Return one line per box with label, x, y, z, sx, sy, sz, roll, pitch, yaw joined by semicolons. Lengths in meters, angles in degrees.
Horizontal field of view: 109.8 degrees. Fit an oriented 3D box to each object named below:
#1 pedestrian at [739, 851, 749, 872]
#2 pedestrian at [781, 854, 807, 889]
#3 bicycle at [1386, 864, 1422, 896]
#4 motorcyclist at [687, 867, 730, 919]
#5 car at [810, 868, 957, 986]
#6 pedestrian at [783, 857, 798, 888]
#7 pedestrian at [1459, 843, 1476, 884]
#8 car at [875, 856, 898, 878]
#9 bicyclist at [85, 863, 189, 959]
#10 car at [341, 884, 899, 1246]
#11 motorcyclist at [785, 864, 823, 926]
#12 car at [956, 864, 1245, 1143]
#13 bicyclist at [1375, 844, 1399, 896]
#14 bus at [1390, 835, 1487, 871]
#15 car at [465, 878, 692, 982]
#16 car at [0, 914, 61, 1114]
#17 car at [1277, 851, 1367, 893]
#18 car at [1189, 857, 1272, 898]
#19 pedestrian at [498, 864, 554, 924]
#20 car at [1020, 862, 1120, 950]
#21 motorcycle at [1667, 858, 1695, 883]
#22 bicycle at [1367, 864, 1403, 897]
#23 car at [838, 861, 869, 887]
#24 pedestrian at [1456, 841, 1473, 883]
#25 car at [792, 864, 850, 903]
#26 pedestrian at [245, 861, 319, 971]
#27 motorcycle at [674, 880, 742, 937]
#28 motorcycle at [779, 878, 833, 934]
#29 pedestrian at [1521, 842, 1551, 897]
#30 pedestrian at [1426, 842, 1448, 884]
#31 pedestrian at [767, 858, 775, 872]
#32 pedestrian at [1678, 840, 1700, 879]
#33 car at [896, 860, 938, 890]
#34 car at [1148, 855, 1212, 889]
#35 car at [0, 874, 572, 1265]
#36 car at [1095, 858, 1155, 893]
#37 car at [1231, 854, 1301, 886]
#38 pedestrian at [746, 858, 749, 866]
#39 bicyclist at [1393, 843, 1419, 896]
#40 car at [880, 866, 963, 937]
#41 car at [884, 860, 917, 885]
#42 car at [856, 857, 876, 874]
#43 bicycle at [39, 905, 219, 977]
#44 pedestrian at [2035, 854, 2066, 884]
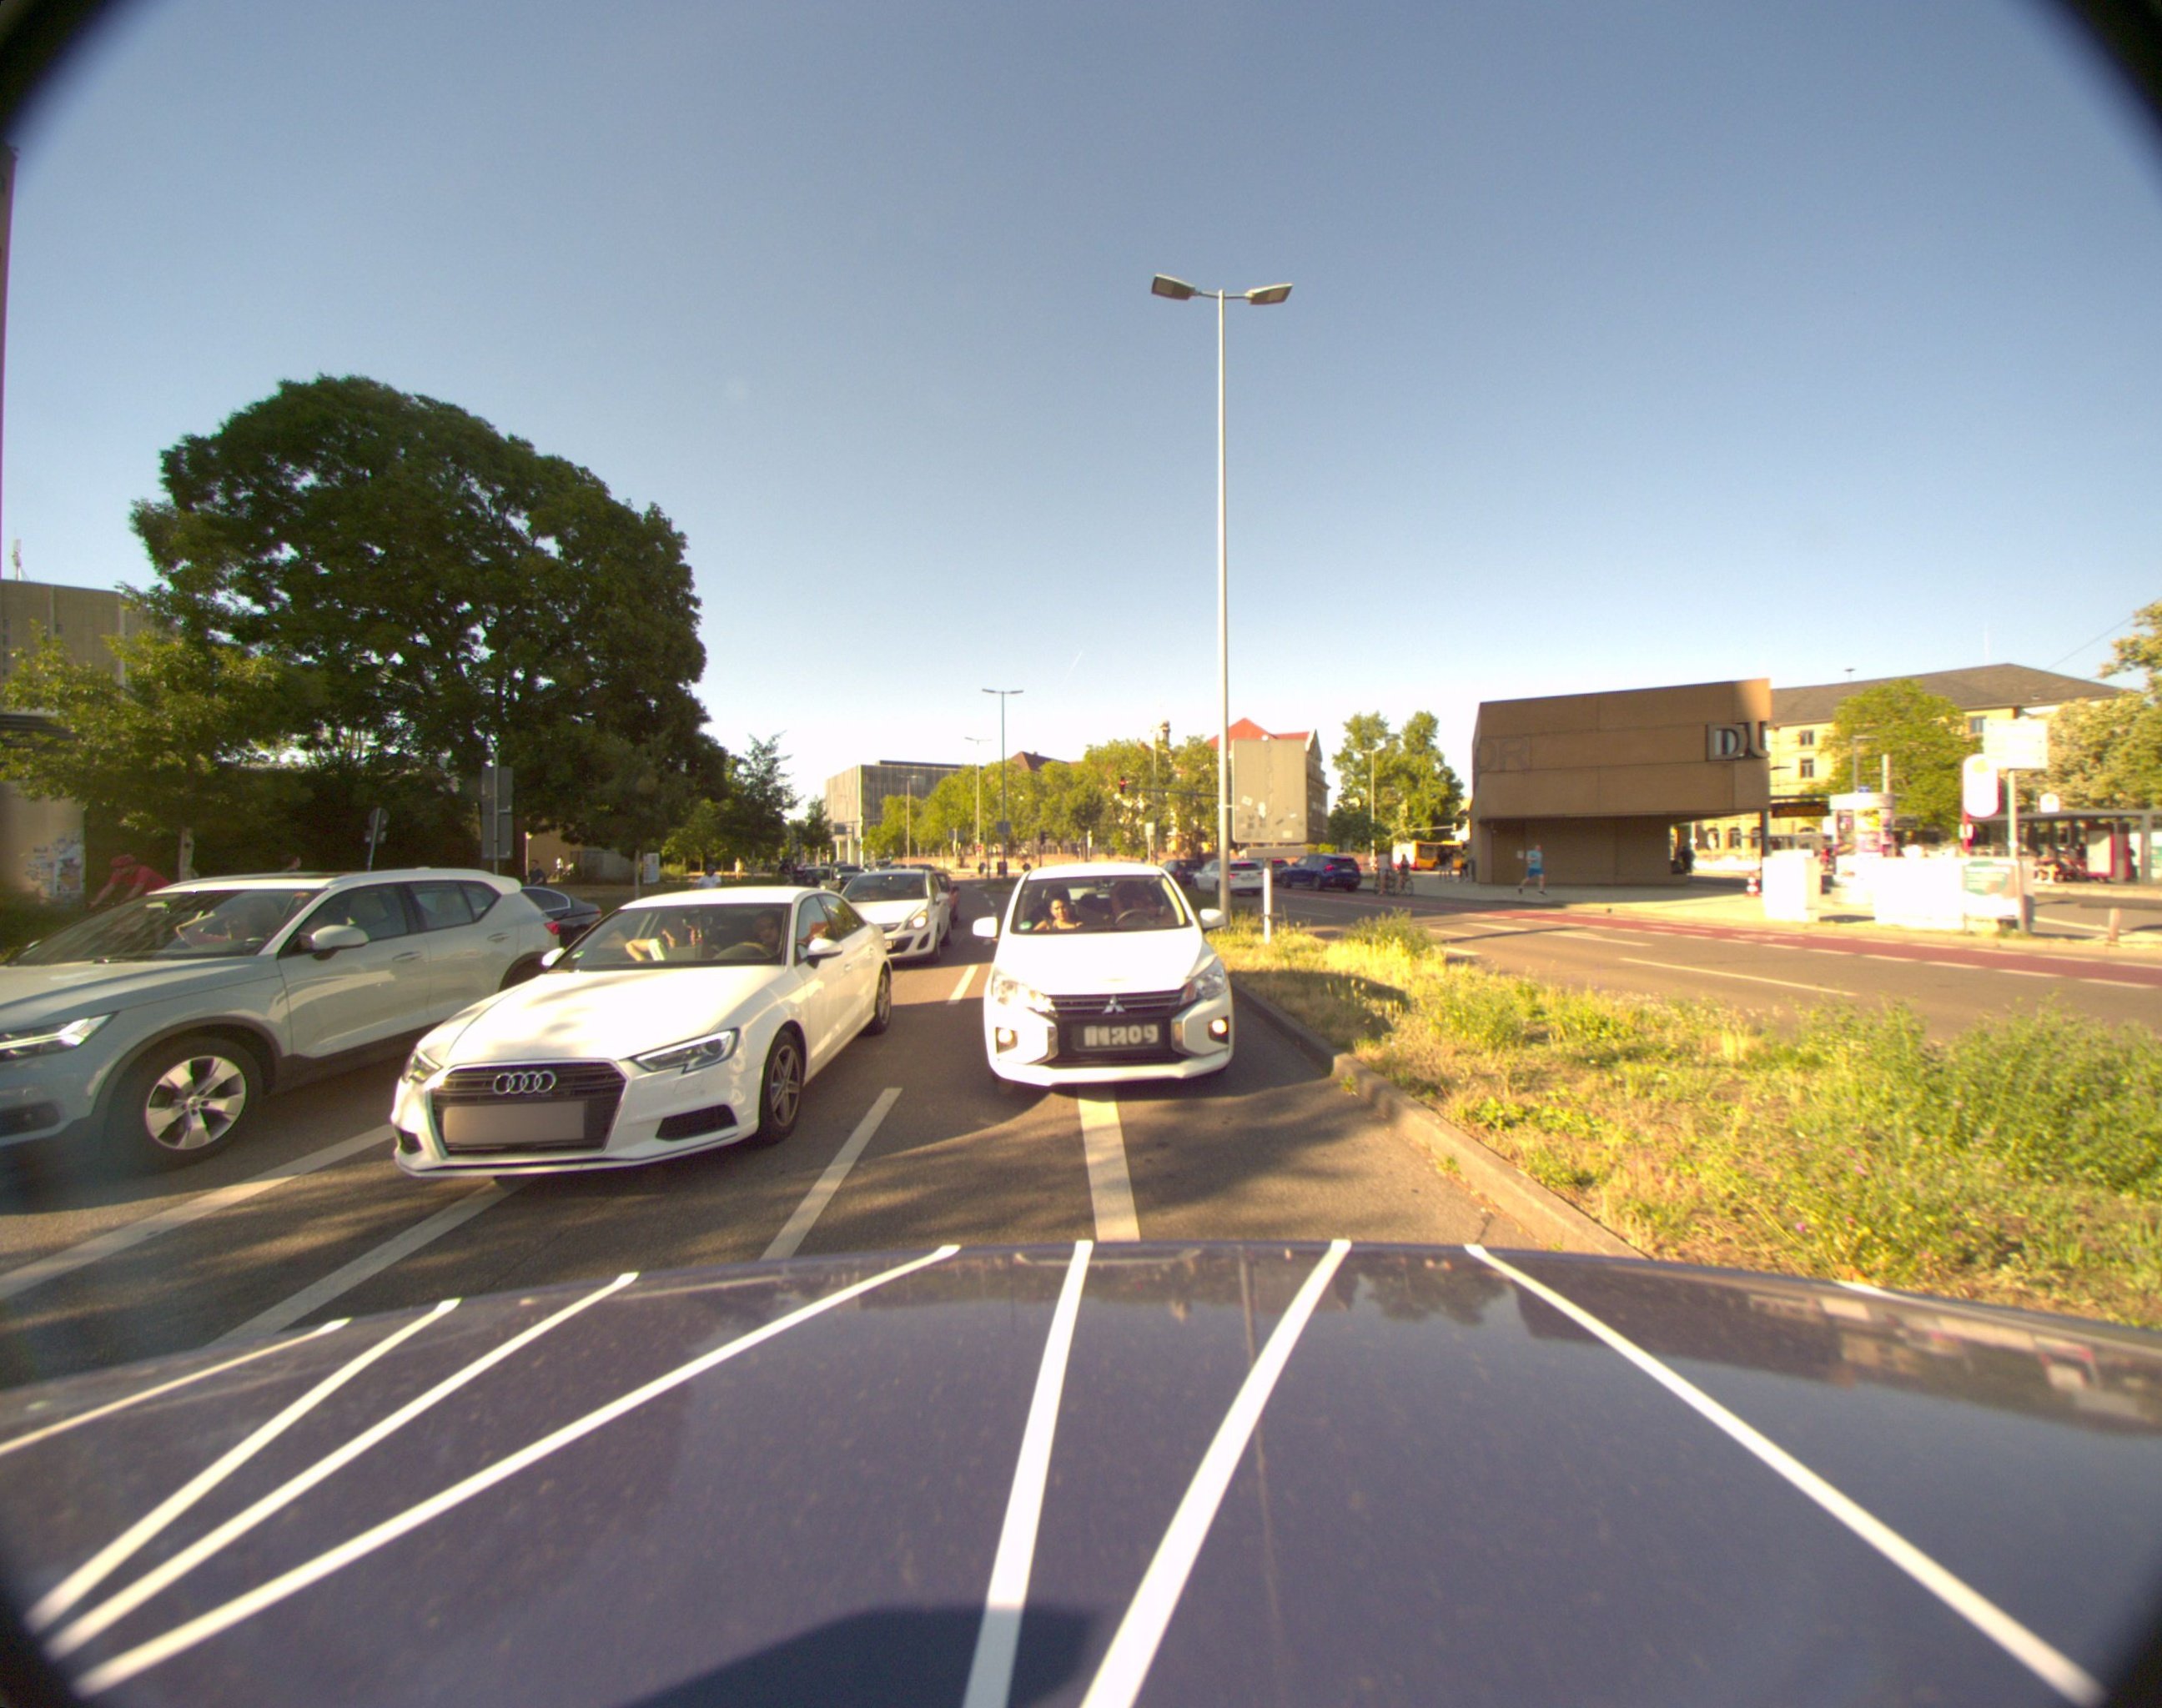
pedestrian;-25.847;0.593;58.271;0.548;1.597;0.603;-3;1;-19
pedestrian;-17.048;1.019;45.190;1.143;2.002;1.285;-2;1;-10
bicycle;12.503;0.979;29.413;0.464;1.185;1.395;-3;1;-17
motorcyclist;-9.768;1.009;19.950;0.718;1.297;0.735;-2;1;-4
car;-3.065;1.047;12.568;1.628;1.451;4.039;-2;1;-5
pedestrian;-15.573;0.983;40.734;0.596;1.585;0.594;-2;1;-8
pedestrian;19.214;0.447;37.747;0.655;2.002;0.469;-2;1;20
car;-17.334;1.135;67.715;1.880;1.805;3.995;-1;0;-14
bicyclist;-16.147;0.943;13.020;0.617;1.551;0.871;-2;1;-6
car;-2.546;1.035;5.379;1.628;1.396;3.832;-2;1;-2
motorcyclist;-7.358;1.088;20.209;0.711;1.581;0.690;-2;1;-4
car;0.064;0.892;6.421;1.628;1.451;4.040;-2;1;-2
bicyclist;11.781;0.612;29.248;0.611;2.002;0.565;-1;1;-15
bus;37.363;-0.189;79.138;12.565;3.193;3.079;-3;1;-34
car;-9.253;1.297;14.472;1.756;1.451;4.186;-2;1;-5
car;-8.751;1.239;3.872;1.628;1.451;4.040;-2;1;-2
car;10.424;0.725;33.200;1.757;1.680;4.183;-1;0;-14
car;6.050;0.902;31.274;1.850;1.483;4.388;-2;1;-10
pedestrian;-16.627;1.179;22.789;1.010;1.711;0.884;-2;1;-10
car;-0.313;0.959;15.897;1.756;1.451;4.187;-2;1;-3
motorcycle;26.226;0.725;33.236;0.948;1.061;0.331;-1;1;39
bicycle;11.735;1.010;29.352;0.464;1.185;1.395;-3;1;-17
car;-14.463;1.237;48.264;1.747;1.536;3.994;-1;0;-18
pedestrian;18.662;0.384;36.971;0.655;2.002;0.469;-2;1;20
car;-11.261;1.233;33.126;1.746;1.516;3.996;-1;0;-9
pedestrian;-14.170;1.074;13.483;0.464;1.875;0.696;-2;1;18
motorcycle;-9.645;1.374;19.747;0.718;1.297;2.234;-2;1;-4
motorcycle;-7.362;1.355;20.454;0.718;1.297;2.234;-2;1;-4
pedestrian;16.070;0.537;26.831;0.797;1.886;0.612;0;1;40
pedestrian;17.561;0.430;37.491;0.777;2.002;0.773;-2;1;13
pedestrian;-46.494;1.631;114.047;0.840;2.002;1.065;-3;1;-30
pedestrian;32.320;0.304;40.363;0.780;2.002;0.771;-3;2;-42
car;-8.992;1.100;41.413;1.748;1.536;3.993;-1;0;-20
car;4.813;0.838;37.425;1.757;1.451;4.184;-2;1;-12
car;-5.742;1.051;5.246;1.628;1.611;4.223;-2;1;-2
car;2.028;0.989;36.002;1.757;1.451;4.184;-2;1;-12
car;9.387;0.785;39.003;1.850;1.483;4.388;1;0;-10
pedestrian;-60.240;1.515;137.275;0.409;1.476;0.486;-1;1;1
bicyclist;12.515;0.591;29.282;0.611;2.002;0.708;-1;1;-15
car;-3.887;1.095;19.085;1.628;1.451;4.039;-2;1;-7
car;-12.901;1.299;54.112;1.748;1.696;3.993;-1;0;-21
car;-22.487;1.183;79.463;1.748;1.696;3.993;-1;0;-20
bicycle;-16.130;1.434;12.971;0.660;0.958;2.033;0;1;-7
pedestrian;39.035;0.608;30.588;0.539;1.180;0.659;-2;1;29
